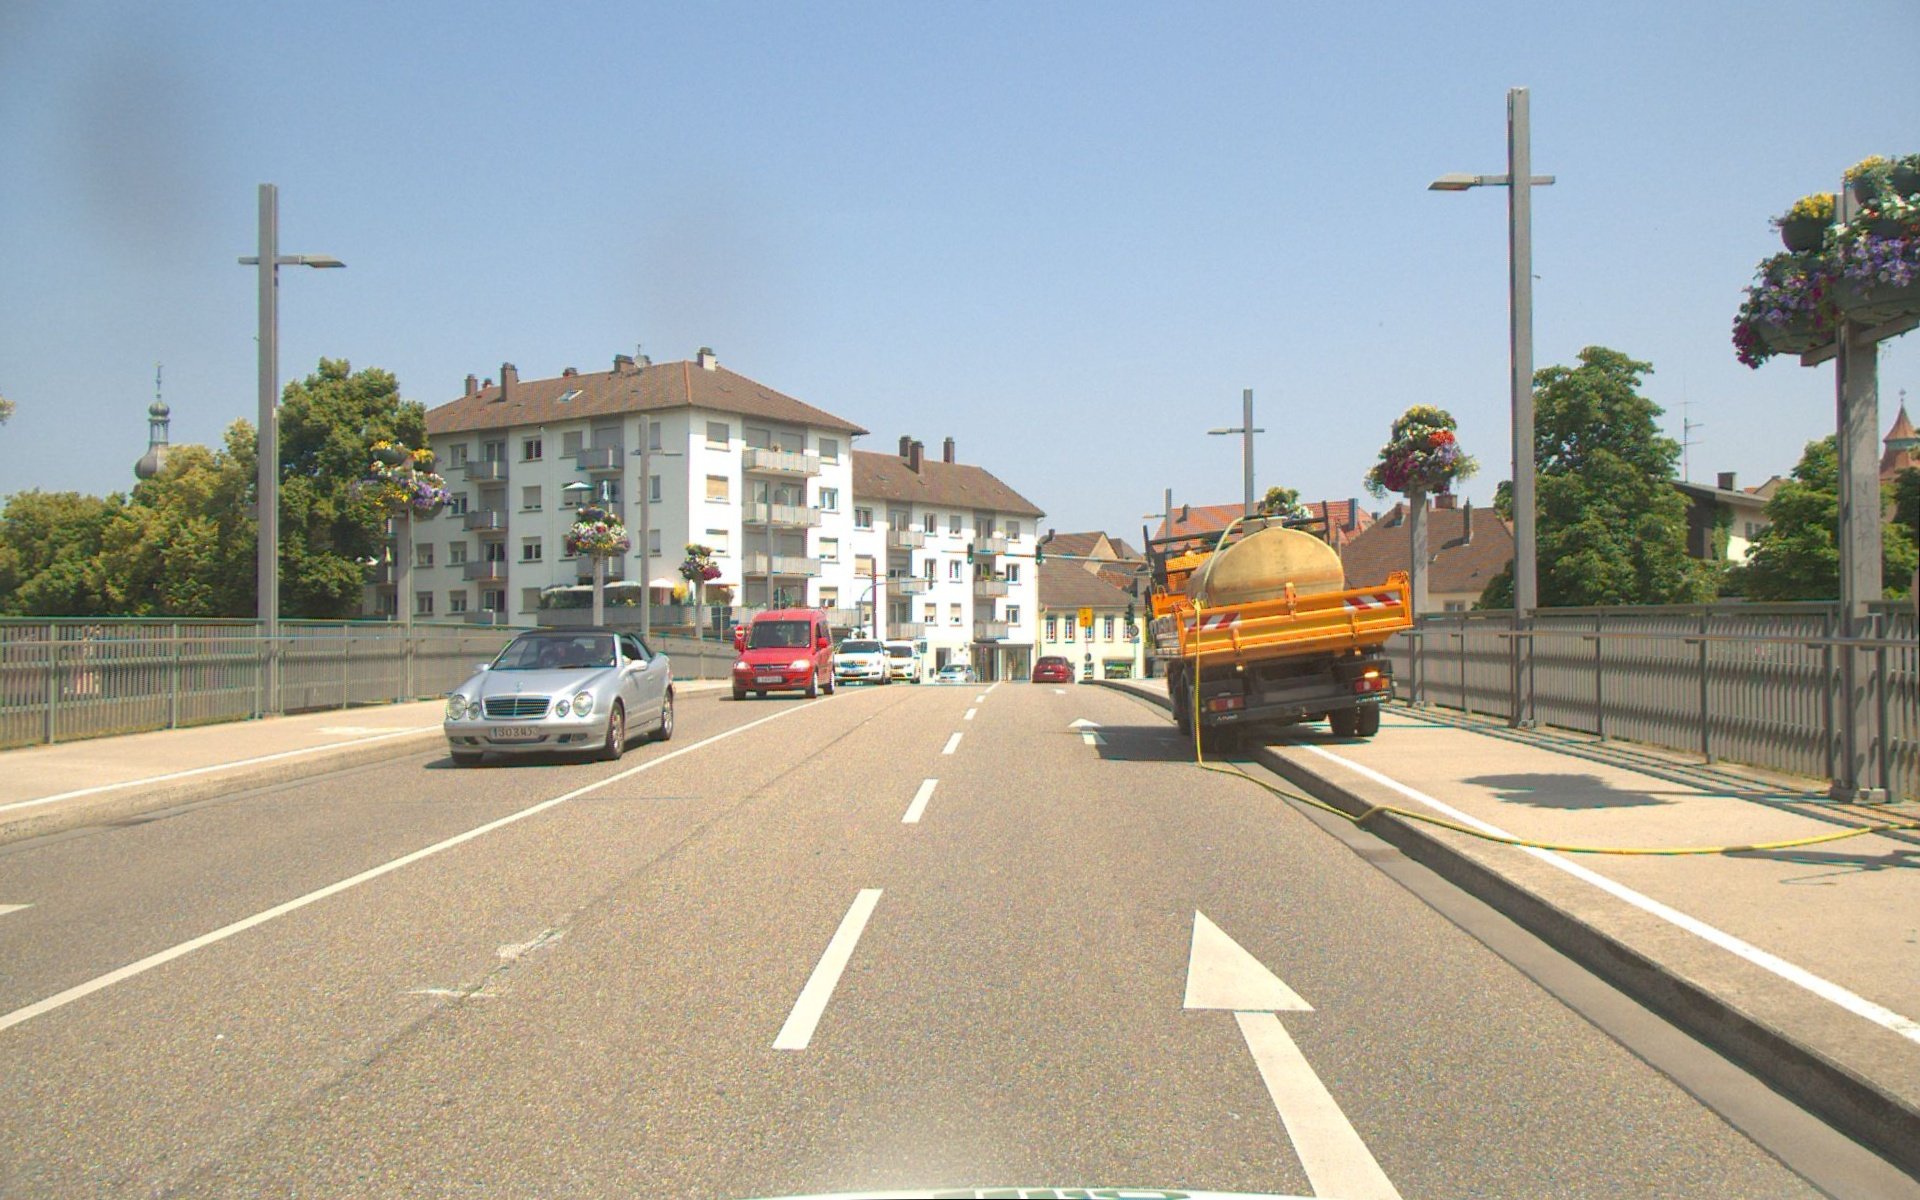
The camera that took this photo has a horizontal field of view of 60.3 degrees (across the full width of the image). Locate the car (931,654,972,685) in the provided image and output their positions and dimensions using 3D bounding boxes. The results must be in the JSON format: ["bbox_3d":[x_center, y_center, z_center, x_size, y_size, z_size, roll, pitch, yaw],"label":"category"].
[{"bbox_3d":[-0.439,3.705,88.521,1.723,1.546,4.002,-3,-2,6],"label":"car"}]

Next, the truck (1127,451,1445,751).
[{"bbox_3d":[3.458,0.060,19.009,2.552,2.738,5.824,-4,-1,2],"label":"truck"}]

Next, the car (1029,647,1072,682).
[{"bbox_3d":[4.545,3.242,83.701,1.949,1.641,4.342,-1,-1,0],"label":"car"}]

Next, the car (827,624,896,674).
[{"bbox_3d":[-3.027,1.539,51.521,1.806,1.457,4.713,-1,-2,1],"label":"car"}]

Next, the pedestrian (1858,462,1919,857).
[{"bbox_3d":[5.102,0.302,8.483,0.542,1.994,0.664,1,-3,-37],"label":"pedestrian"}]

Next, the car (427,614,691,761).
[{"bbox_3d":[-4.260,0.874,18.297,1.663,1.382,4.457,-2,-1,2],"label":"car"}]

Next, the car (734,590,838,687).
[{"bbox_3d":[-3.440,0.798,33.310,1.701,1.808,4.175,-1,-2,-1],"label":"car"}]

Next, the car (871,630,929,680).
[{"bbox_3d":[-2.503,2.364,69.885,1.722,1.890,4.648,-5,-4,5],"label":"car"}]
